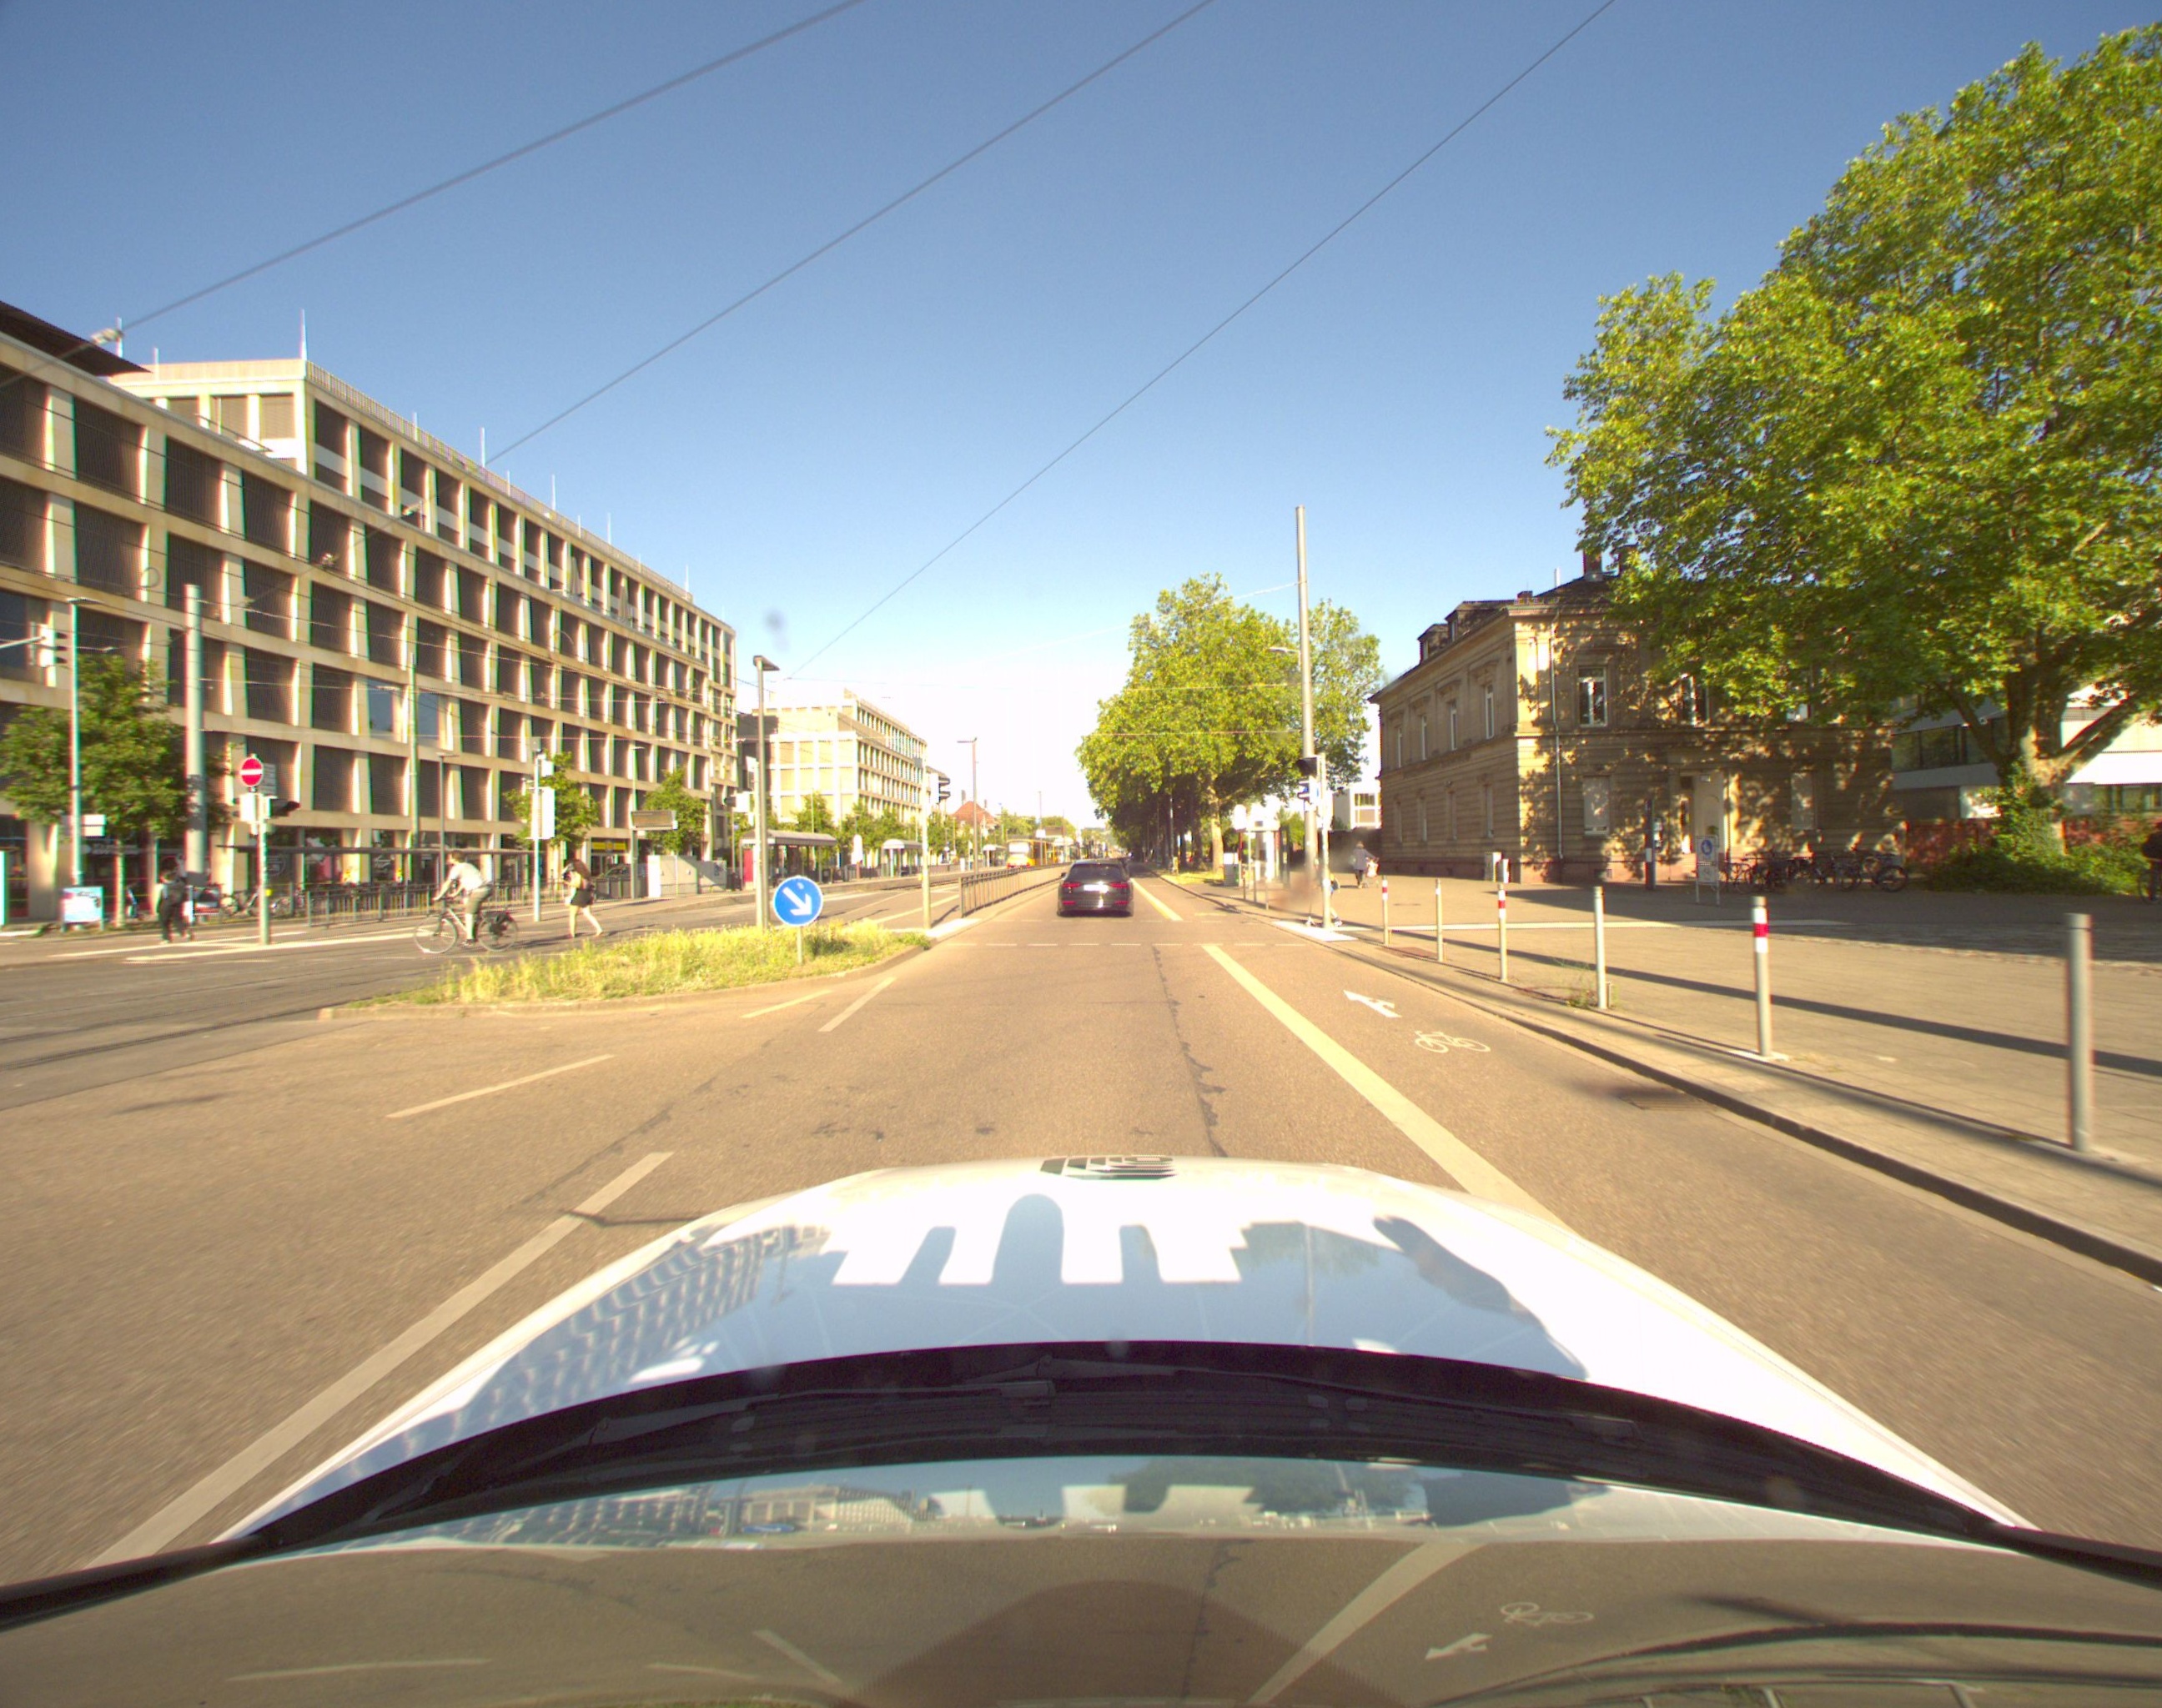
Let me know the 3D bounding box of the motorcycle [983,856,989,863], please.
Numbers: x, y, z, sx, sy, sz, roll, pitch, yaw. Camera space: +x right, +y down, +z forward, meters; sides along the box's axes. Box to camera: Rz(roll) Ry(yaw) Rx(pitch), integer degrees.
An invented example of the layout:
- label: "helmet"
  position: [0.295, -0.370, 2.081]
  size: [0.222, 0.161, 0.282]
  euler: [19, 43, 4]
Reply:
- label: "motorcycle"
  position: [-13.582, 0.762, 116.368]
  size: [0.602, 1.021, 1.843]
  euler: [-2, 0, 4]

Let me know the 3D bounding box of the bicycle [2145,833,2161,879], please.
- label: "bicycle"
  position: [30.698, 0.042, 21.838]
  size: [0.777, 1.278, 2.667]
  euler: [0, -1, -2]

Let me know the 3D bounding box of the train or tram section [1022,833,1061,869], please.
- label: "train or tram section"
  position: [-4.429, -0.259, 94.173]
  size: [3.295, 3.829, 11.852]
  euler: [-1, 0, 3]

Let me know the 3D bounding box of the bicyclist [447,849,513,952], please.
- label: "bicyclist"
  position: [-10.872, 0.825, 14.755]
  size: [0.663, 1.808, 0.648]
  euler: [-1, 0, 5]

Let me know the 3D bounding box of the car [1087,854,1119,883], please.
- label: "car"
  position: [1.304, 0.858, 48.617]
  size: [1.756, 1.619, 4.001]
  euler: [-1, 0, 1]

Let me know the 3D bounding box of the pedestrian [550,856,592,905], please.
- label: "pedestrian"
  position: [-17.642, 0.918, 28.198]
  size: [0.790, 1.644, 0.934]
  euler: [-1, 0, 4]

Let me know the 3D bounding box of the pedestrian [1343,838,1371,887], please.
- label: "pedestrian"
  position: [10.103, 0.293, 29.810]
  size: [0.762, 1.744, 0.801]
  euler: [-3, -1, 27]

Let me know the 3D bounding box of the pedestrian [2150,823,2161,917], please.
- label: "pedestrian"
  position: [21.099, 0.279, 15.174]
  size: [0.995, 1.788, 1.034]
  euler: [-3, -1, -9]

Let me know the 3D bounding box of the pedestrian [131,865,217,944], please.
- label: "pedestrian"
  position: [-19.637, 1.072, 17.655]
  size: [0.930, 1.644, 0.793]
  euler: [-1, 0, -11]

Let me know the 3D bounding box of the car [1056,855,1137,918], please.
- label: "car"
  position: [0.396, 0.771, 20.941]
  size: [1.871, 1.457, 3.357]
  euler: [-1, 0, 1]

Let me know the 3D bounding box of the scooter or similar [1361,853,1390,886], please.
- label: "scooter or similar"
  position: [10.821, 0.564, 29.982]
  size: [0.717, 1.156, 0.759]
  euler: [-3, -1, -4]

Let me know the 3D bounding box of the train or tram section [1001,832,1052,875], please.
- label: "train or tram section"
  position: [-5.194, -0.047, 81.002]
  size: [3.295, 3.829, 14.230]
  euler: [-1, 0, 3]

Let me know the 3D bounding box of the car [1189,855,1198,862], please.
- label: "car"
  position: [24.207, 0.896, 175.061]
  size: [1.607, 1.515, 3.806]
  euler: [-1, 0, 3]

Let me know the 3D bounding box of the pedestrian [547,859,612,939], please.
- label: "pedestrian"
  position: [-10.764, 0.951, 17.523]
  size: [0.930, 1.644, 0.793]
  euler: [-1, 0, -11]

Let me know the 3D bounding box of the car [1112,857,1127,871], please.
- label: "car"
  position: [4.917, 1.283, 105.134]
  size: [1.756, 1.619, 4.001]
  euler: [-1, 0, 1]

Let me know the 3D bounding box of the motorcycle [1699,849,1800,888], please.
- label: "motorcycle"
  position: [19.219, 0.422, 23.455]
  size: [2.064, 1.103, 0.889]
  euler: [-1, -1, 9]

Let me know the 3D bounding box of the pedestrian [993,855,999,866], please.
- label: "pedestrian"
  position: [-11.997, 0.928, 115.260]
  size: [0.610, 1.527, 0.727]
  euler: [-1, -1, 11]

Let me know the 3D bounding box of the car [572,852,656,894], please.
- label: "car"
  position: [-24.262, 0.950, 42.502]
  size: [1.986, 2.013, 4.001]
  euler: [-1, 0, 1]

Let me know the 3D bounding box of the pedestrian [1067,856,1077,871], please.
- label: "pedestrian"
  position: [-0.720, 0.786, 67.565]
  size: [0.739, 1.274, 0.525]
  euler: [-2, 0, 2]

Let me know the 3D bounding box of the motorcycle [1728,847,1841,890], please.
- label: "motorcycle"
  position: [19.416, 0.402, 22.521]
  size: [2.206, 1.159, 0.889]
  euler: [-1, -1, 10]

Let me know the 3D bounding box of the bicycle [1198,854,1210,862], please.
- label: "bicycle"
  position: [19.872, 0.654, 131.735]
  size: [1.766, 1.120, 0.439]
  euler: [-3, -1, 2]

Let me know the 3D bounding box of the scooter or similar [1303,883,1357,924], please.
- label: "scooter or similar"
  position: [5.150, 1.016, 16.880]
  size: [1.017, 0.811, 0.265]
  euler: [-1, 0, 2]

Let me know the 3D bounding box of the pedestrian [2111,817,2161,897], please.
- label: "pedestrian"
  position: [24.134, 0.044, 18.165]
  size: [0.995, 1.744, 1.034]
  euler: [-3, -1, -9]

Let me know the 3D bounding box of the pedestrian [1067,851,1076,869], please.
- label: "pedestrian"
  position: [-0.833, 0.548, 71.117]
  size: [0.742, 1.508, 0.667]
  euler: [-2, 0, 5]

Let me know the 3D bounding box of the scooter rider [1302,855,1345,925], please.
- label: "scooter rider"
  position: [4.963, 0.725, 16.692]
  size: [0.698, 1.397, 0.600]
  euler: [-1, 0, 3]

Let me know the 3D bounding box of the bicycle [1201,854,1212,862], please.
- label: "bicycle"
  position: [19.354, 0.644, 125.465]
  size: [1.681, 1.120, 0.439]
  euler: [-3, -1, 2]

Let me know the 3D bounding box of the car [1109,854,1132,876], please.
- label: "car"
  position: [3.154, 0.865, 65.564]
  size: [1.756, 1.619, 4.001]
  euler: [-1, 0, 1]

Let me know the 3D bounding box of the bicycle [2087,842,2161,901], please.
- label: "bicycle"
  position: [24.156, 0.377, 18.284]
  size: [2.660, 1.278, 0.779]
  euler: [0, -1, -11]

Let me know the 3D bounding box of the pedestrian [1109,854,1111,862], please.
- label: "pedestrian"
  position: [6.066, 0.859, 172.768]
  size: [0.410, 1.717, 0.666]
  euler: [-1, -1, 3]

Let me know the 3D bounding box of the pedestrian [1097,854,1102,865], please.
- label: "pedestrian"
  position: [2.789, 0.777, 123.343]
  size: [0.608, 1.668, 0.614]
  euler: [-1, -1, 5]

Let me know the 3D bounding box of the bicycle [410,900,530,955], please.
- label: "bicycle"
  position: [-11.092, 1.326, 14.792]
  size: [1.873, 0.911, 0.515]
  euler: [-2, -1, 6]
